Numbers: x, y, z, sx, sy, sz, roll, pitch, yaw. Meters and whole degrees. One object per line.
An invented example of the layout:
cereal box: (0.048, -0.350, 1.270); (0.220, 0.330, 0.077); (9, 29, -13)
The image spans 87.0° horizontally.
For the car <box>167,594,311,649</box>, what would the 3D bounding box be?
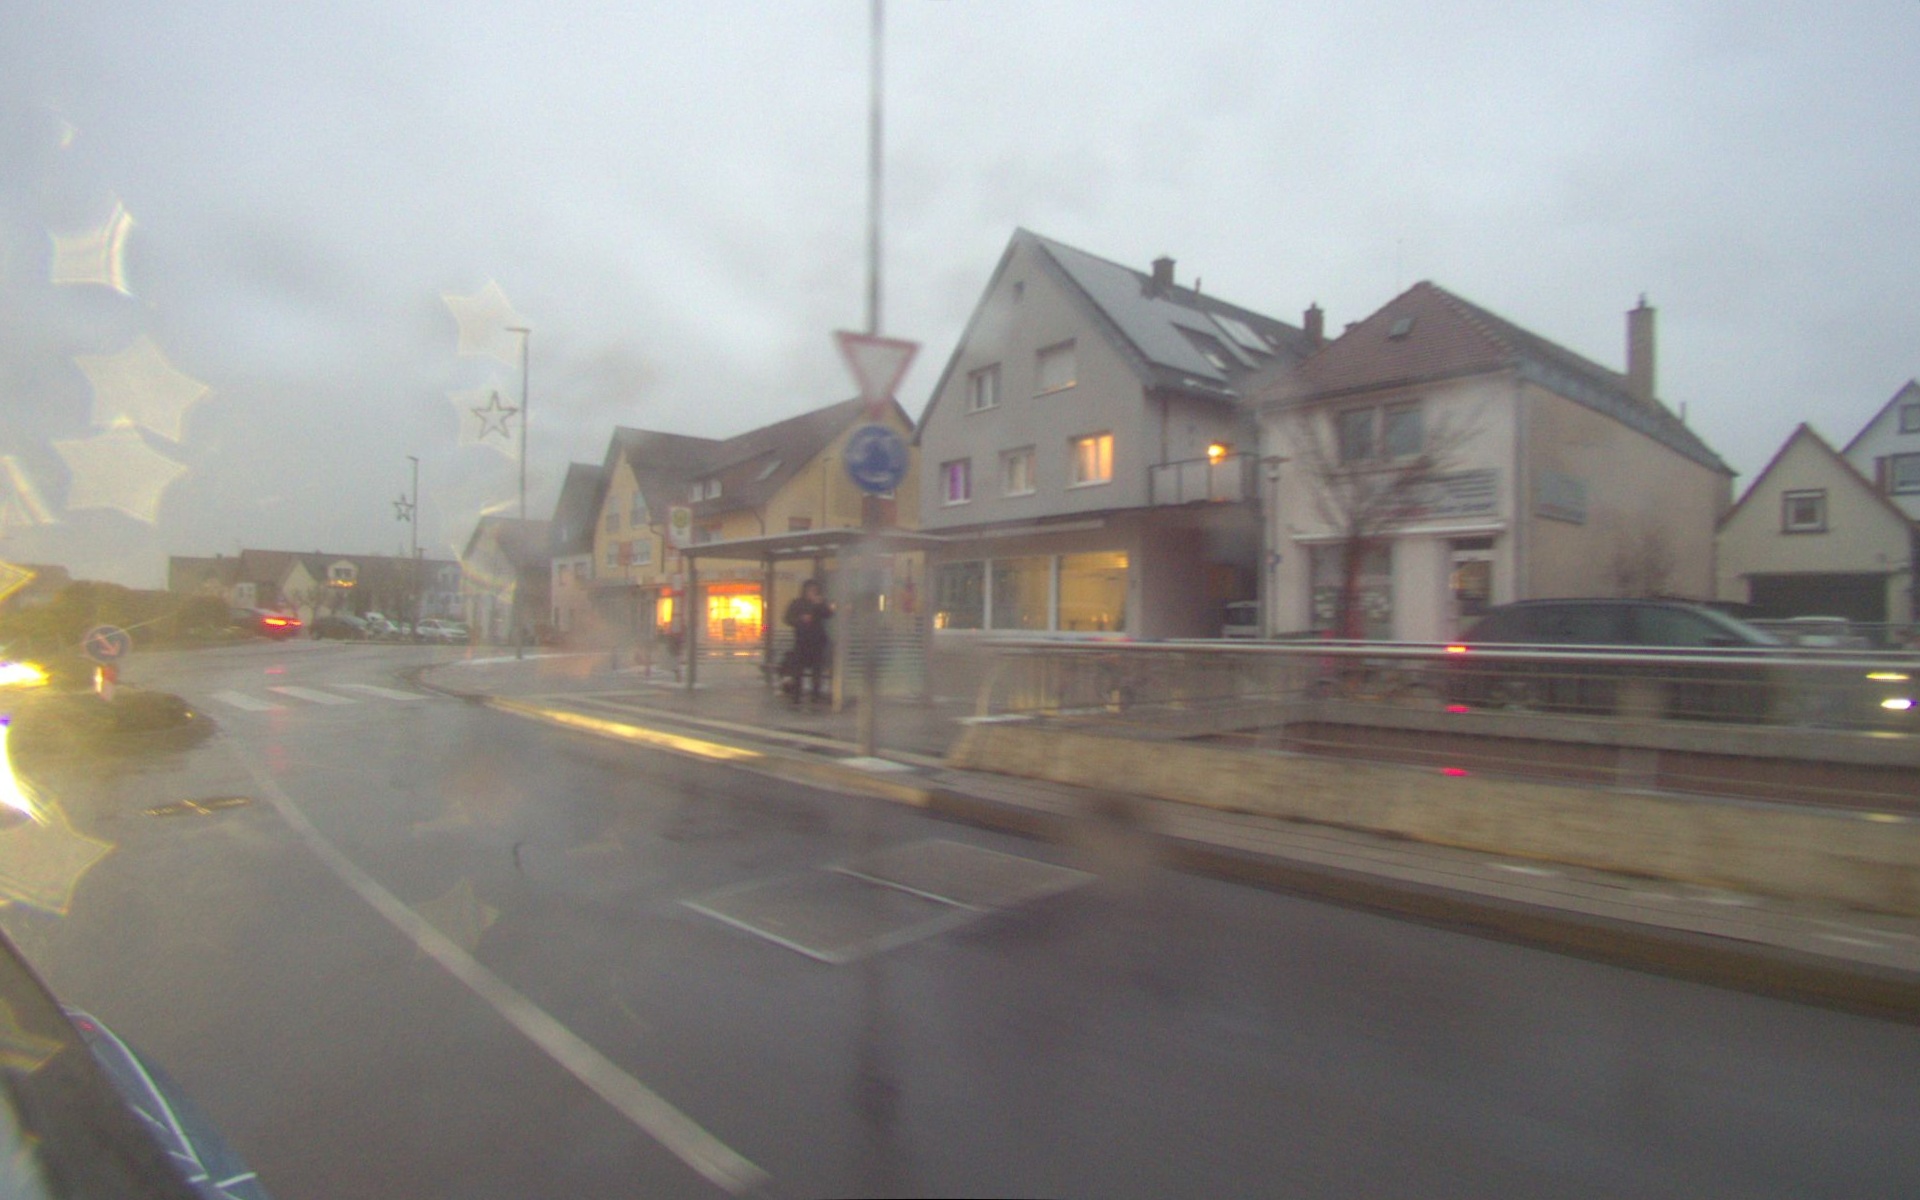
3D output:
car: (-28.428, 0.828, 39.974); (4.407, 2.029, 1.998); (1, 1, 4)

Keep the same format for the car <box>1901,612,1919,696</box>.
car: (22.996, 1.279, 23.208); (3.607, 1.855, 1.678); (4, -4, -41)

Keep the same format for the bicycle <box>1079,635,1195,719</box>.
bicycle: (2.311, 0.987, 13.398); (0.463, 1.017, 1.744); (1, -2, -33)

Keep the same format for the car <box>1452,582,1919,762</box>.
car: (8.409, 0.782, 11.713); (1.734, 1.714, 4.568); (4, -5, -43)

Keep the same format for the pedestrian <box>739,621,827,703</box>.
pedestrian: (-2.689, 0.924, 15.340); (0.976, 1.167, 0.903); (0, -3, -40)

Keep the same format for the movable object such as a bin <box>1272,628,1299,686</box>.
movable object such as a bin: (7.035, 1.231, 21.889); (0.284, 1.219, 0.454); (0, 1, -44)

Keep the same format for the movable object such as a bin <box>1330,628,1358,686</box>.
movable object such as a bin: (7.929, 1.168, 20.916); (0.284, 1.151, 0.454); (0, 1, -44)

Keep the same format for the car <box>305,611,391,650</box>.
car: (-34.527, 1.702, 57.119); (3.962, 2.010, 1.963); (1, 1, 15)

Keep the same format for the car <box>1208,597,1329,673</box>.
car: (8.197, 0.899, 26.780); (3.373, 1.867, 1.515); (1, -1, -41)

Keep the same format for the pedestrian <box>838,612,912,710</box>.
pedestrian: (-1.180, 0.823, 13.981); (0.677, 1.281, 0.751); (0, -1, -45)

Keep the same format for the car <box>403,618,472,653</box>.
car: (-31.840, 2.144, 61.686); (3.853, 1.895, 1.918); (1, 1, 27)

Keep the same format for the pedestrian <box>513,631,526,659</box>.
pedestrian: (-26.562, 2.698, 60.985); (0.574, 1.623, 0.500); (0, 1, -45)

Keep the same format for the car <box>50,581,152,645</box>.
car: (-29.417, 0.371, 34.791); (2.024, 2.001, 4.551); (0, 1, -32)

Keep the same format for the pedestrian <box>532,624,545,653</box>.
pedestrian: (-24.654, 2.259, 59.155); (0.574, 1.623, 0.500); (0, 1, -45)

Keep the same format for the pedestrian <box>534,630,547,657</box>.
pedestrian: (-25.835, 2.693, 62.359); (0.574, 1.623, 0.500); (0, 1, -45)

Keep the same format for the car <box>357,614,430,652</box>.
car: (-33.305, 1.894, 59.473); (3.953, 2.029, 1.908); (1, 1, 27)

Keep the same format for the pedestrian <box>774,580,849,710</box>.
pedestrian: (-2.072, 0.609, 14.120); (0.687, 1.755, 0.740); (-2, -1, 41)

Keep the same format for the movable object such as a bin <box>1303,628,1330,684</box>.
movable object such as a bin: (7.527, 1.172, 21.358); (0.284, 1.129, 0.454); (0, 1, -44)

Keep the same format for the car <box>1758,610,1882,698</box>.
car: (21.516, 1.381, 25.285); (3.527, 2.034, 1.840); (4, -4, -41)
